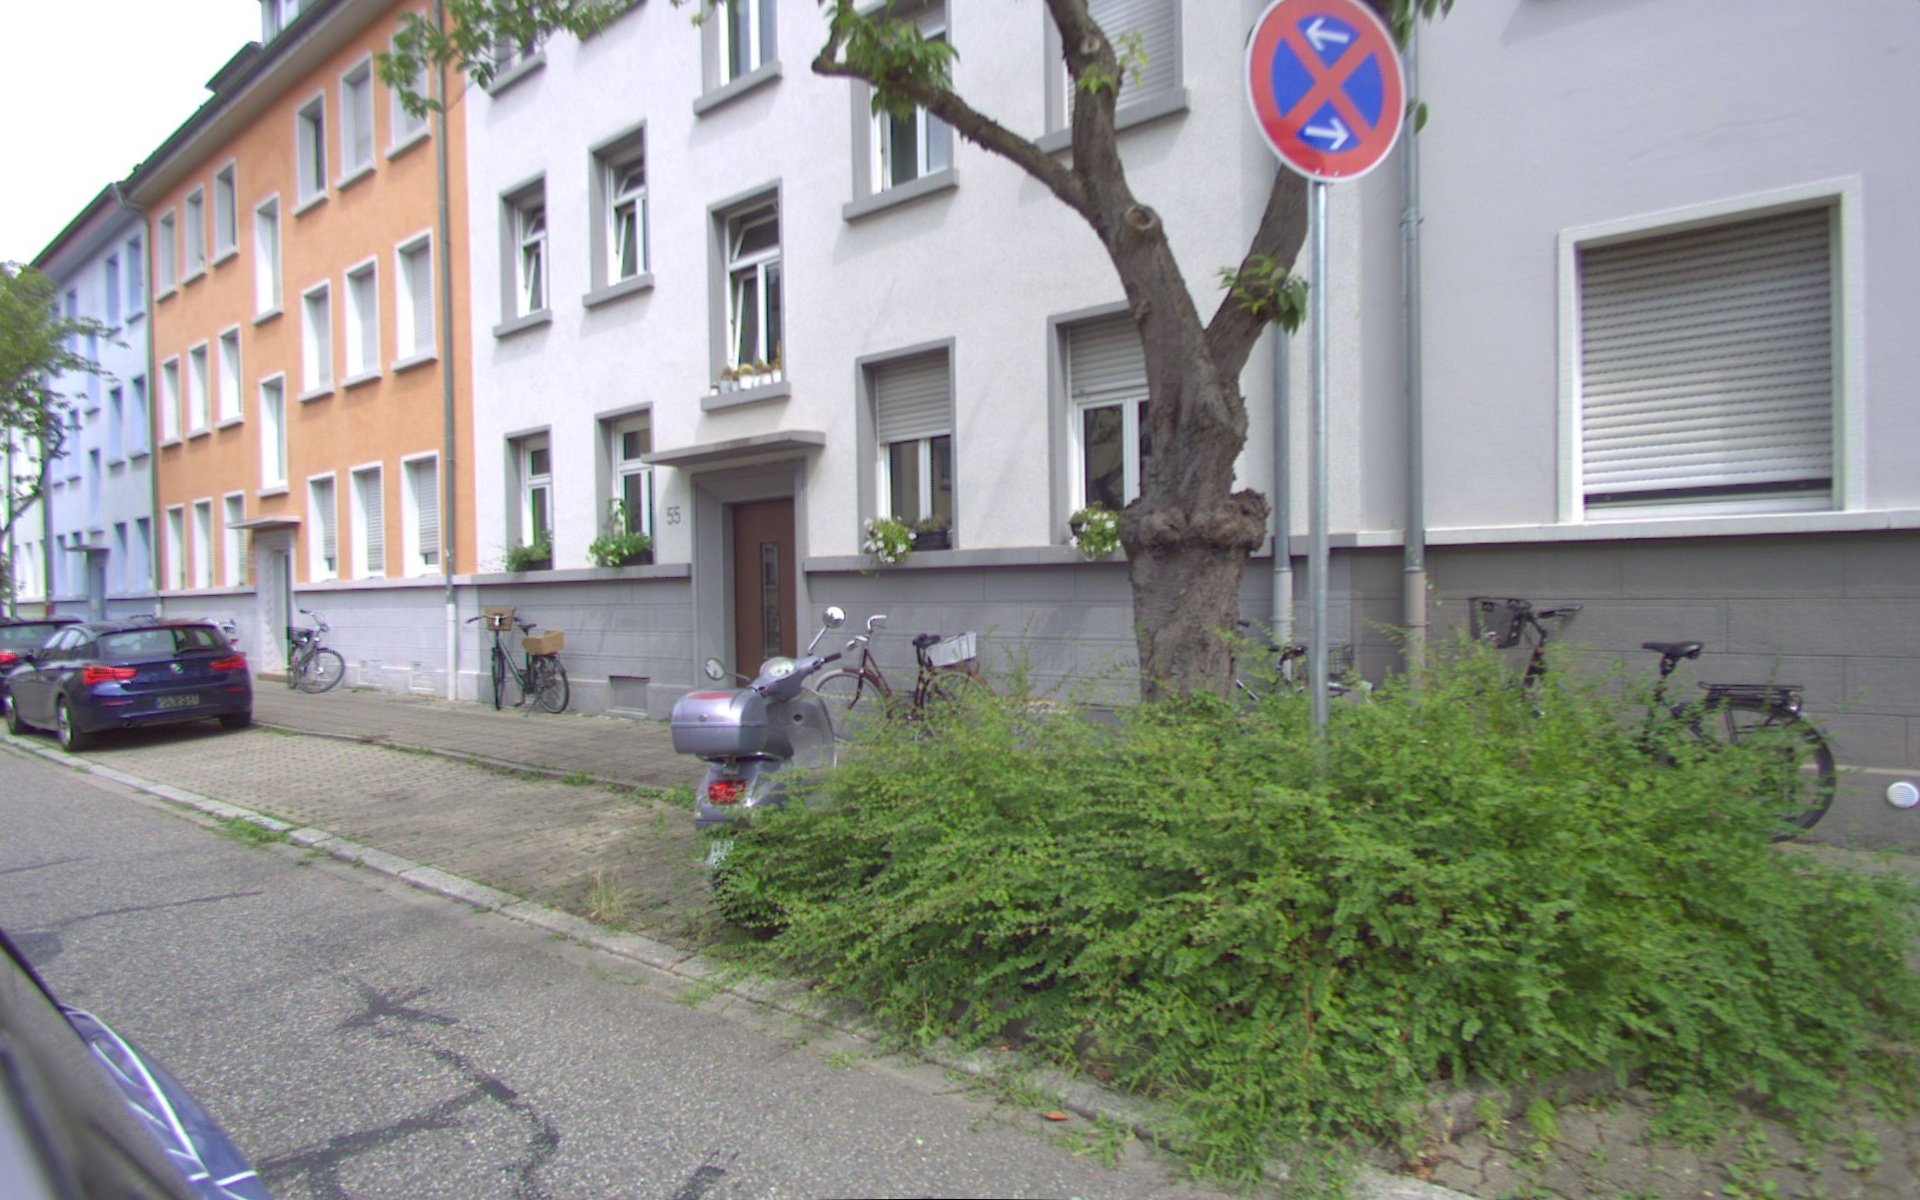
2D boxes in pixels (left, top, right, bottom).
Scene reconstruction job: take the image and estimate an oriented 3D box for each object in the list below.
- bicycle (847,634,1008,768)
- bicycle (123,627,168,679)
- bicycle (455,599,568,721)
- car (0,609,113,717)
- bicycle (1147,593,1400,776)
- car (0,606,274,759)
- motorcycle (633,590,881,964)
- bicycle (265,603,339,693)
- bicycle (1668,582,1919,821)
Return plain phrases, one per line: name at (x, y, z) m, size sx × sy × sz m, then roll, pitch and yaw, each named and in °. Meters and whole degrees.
bicycle at (-0.282, 0.769, 8.086) m, size 1.432 × 0.974 × 0.306 m, roll -1°, pitch -2°, yaw 39°
bicycle at (-16.711, 1.068, 20.757) m, size 1.567 × 1.003 × 0.363 m, roll -1°, pitch -1°, yaw 38°
bicycle at (-5.293, 0.668, 11.888) m, size 1.809 × 1.344 × 0.425 m, roll -1°, pitch -2°, yaw 39°
car at (-15.315, 0.939, 16.119) m, size 4.085 × 1.495 × 1.820 m, roll 0°, pitch 2°, yaw 36°
bicycle at (1.892, 0.479, 6.222) m, size 1.432 × 1.014 × 0.416 m, roll -1°, pitch -2°, yaw 39°
car at (-10.413, 0.883, 12.531) m, size 4.112 × 1.495 × 1.821 m, roll 0°, pitch 3°, yaw 36°
motorcycle at (-0.854, 0.698, 4.887) m, size 0.781 × 1.418 × 2.018 m, roll 0°, pitch -1°, yaw 0°
bicycle at (-10.341, 0.736, 15.876) m, size 1.809 × 1.344 × 0.425 m, roll -1°, pitch -2°, yaw 39°
bicycle at (4.084, 0.438, 4.567) m, size 1.432 × 1.014 × 0.416 m, roll -1°, pitch -2°, yaw 39°
